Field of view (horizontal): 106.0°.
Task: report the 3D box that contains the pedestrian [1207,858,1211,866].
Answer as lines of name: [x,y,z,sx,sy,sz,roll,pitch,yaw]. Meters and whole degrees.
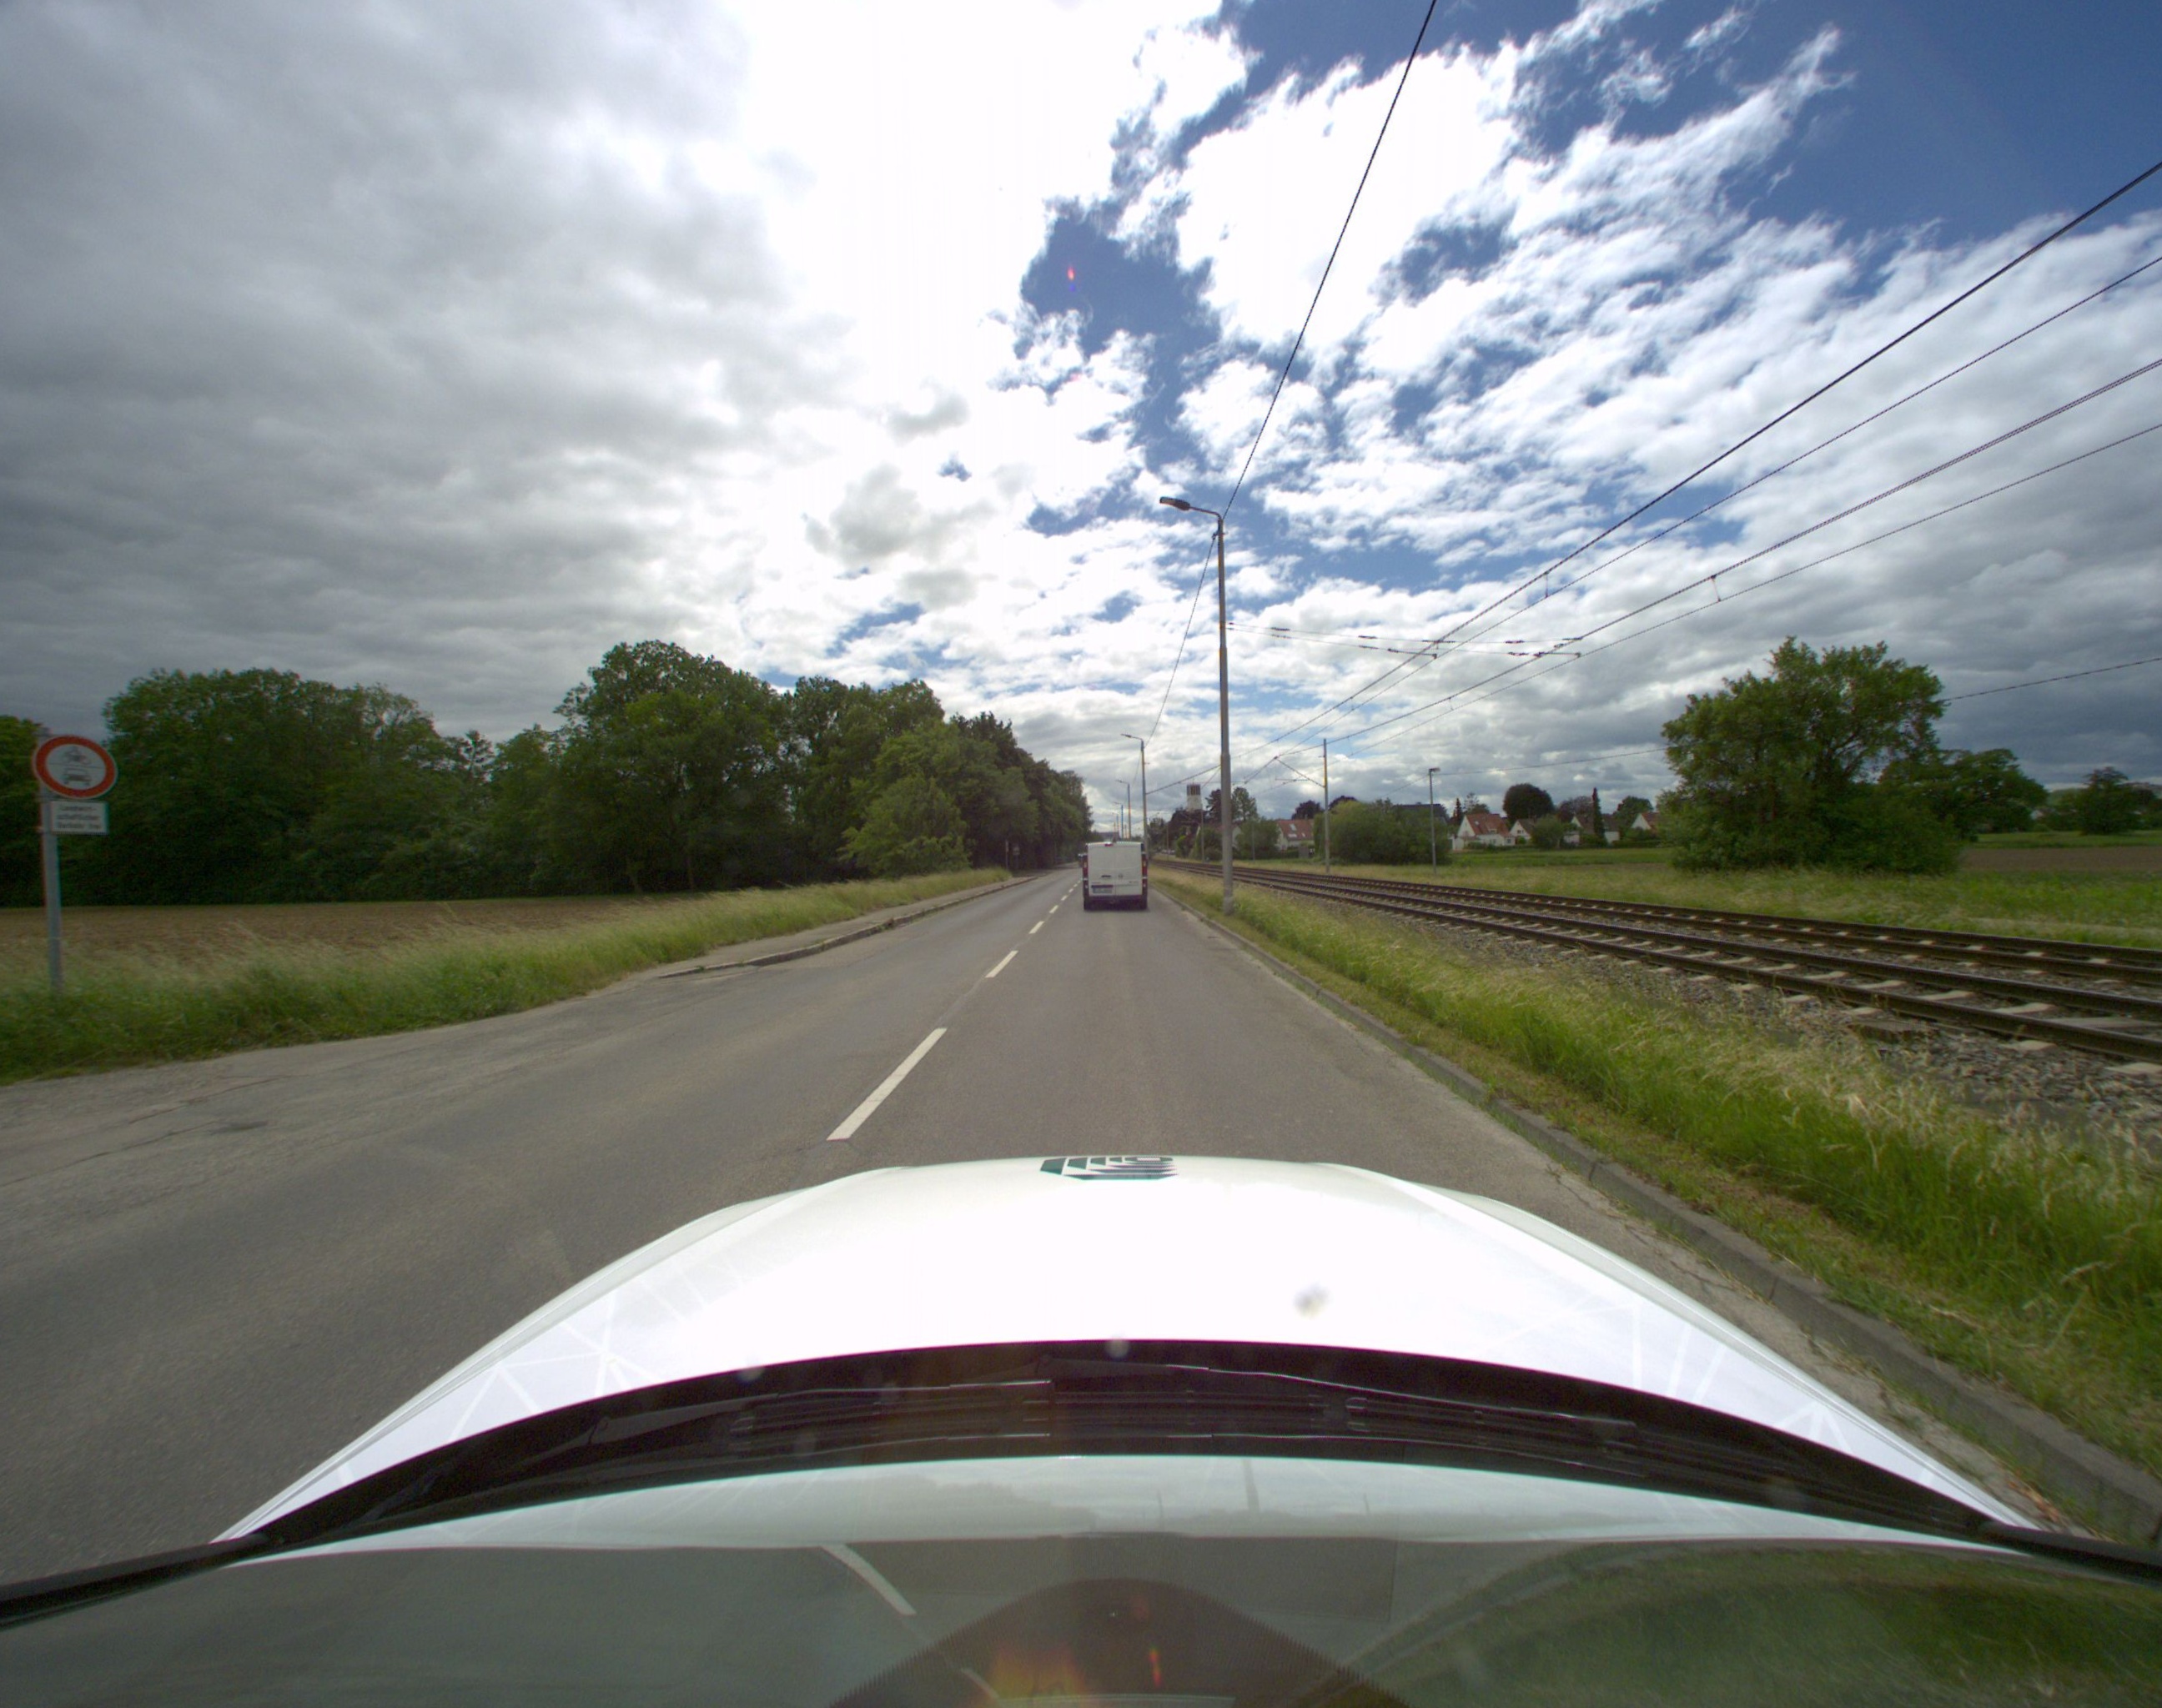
pedestrian: [23.889,1.493,152.206,0.524,1.506,0.657,-2,-1,1]

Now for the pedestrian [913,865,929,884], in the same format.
pedestrian: [-13.105,1.649,66.534,1.031,1.530,0.942,-2,-1,2]

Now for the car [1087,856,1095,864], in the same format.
car: [2.339,1.366,191.203,1.987,1.717,4.124,-2,-1,1]

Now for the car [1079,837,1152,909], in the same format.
car: [0.978,0.554,24.604,1.987,1.957,4.000,-1,-1,0]
